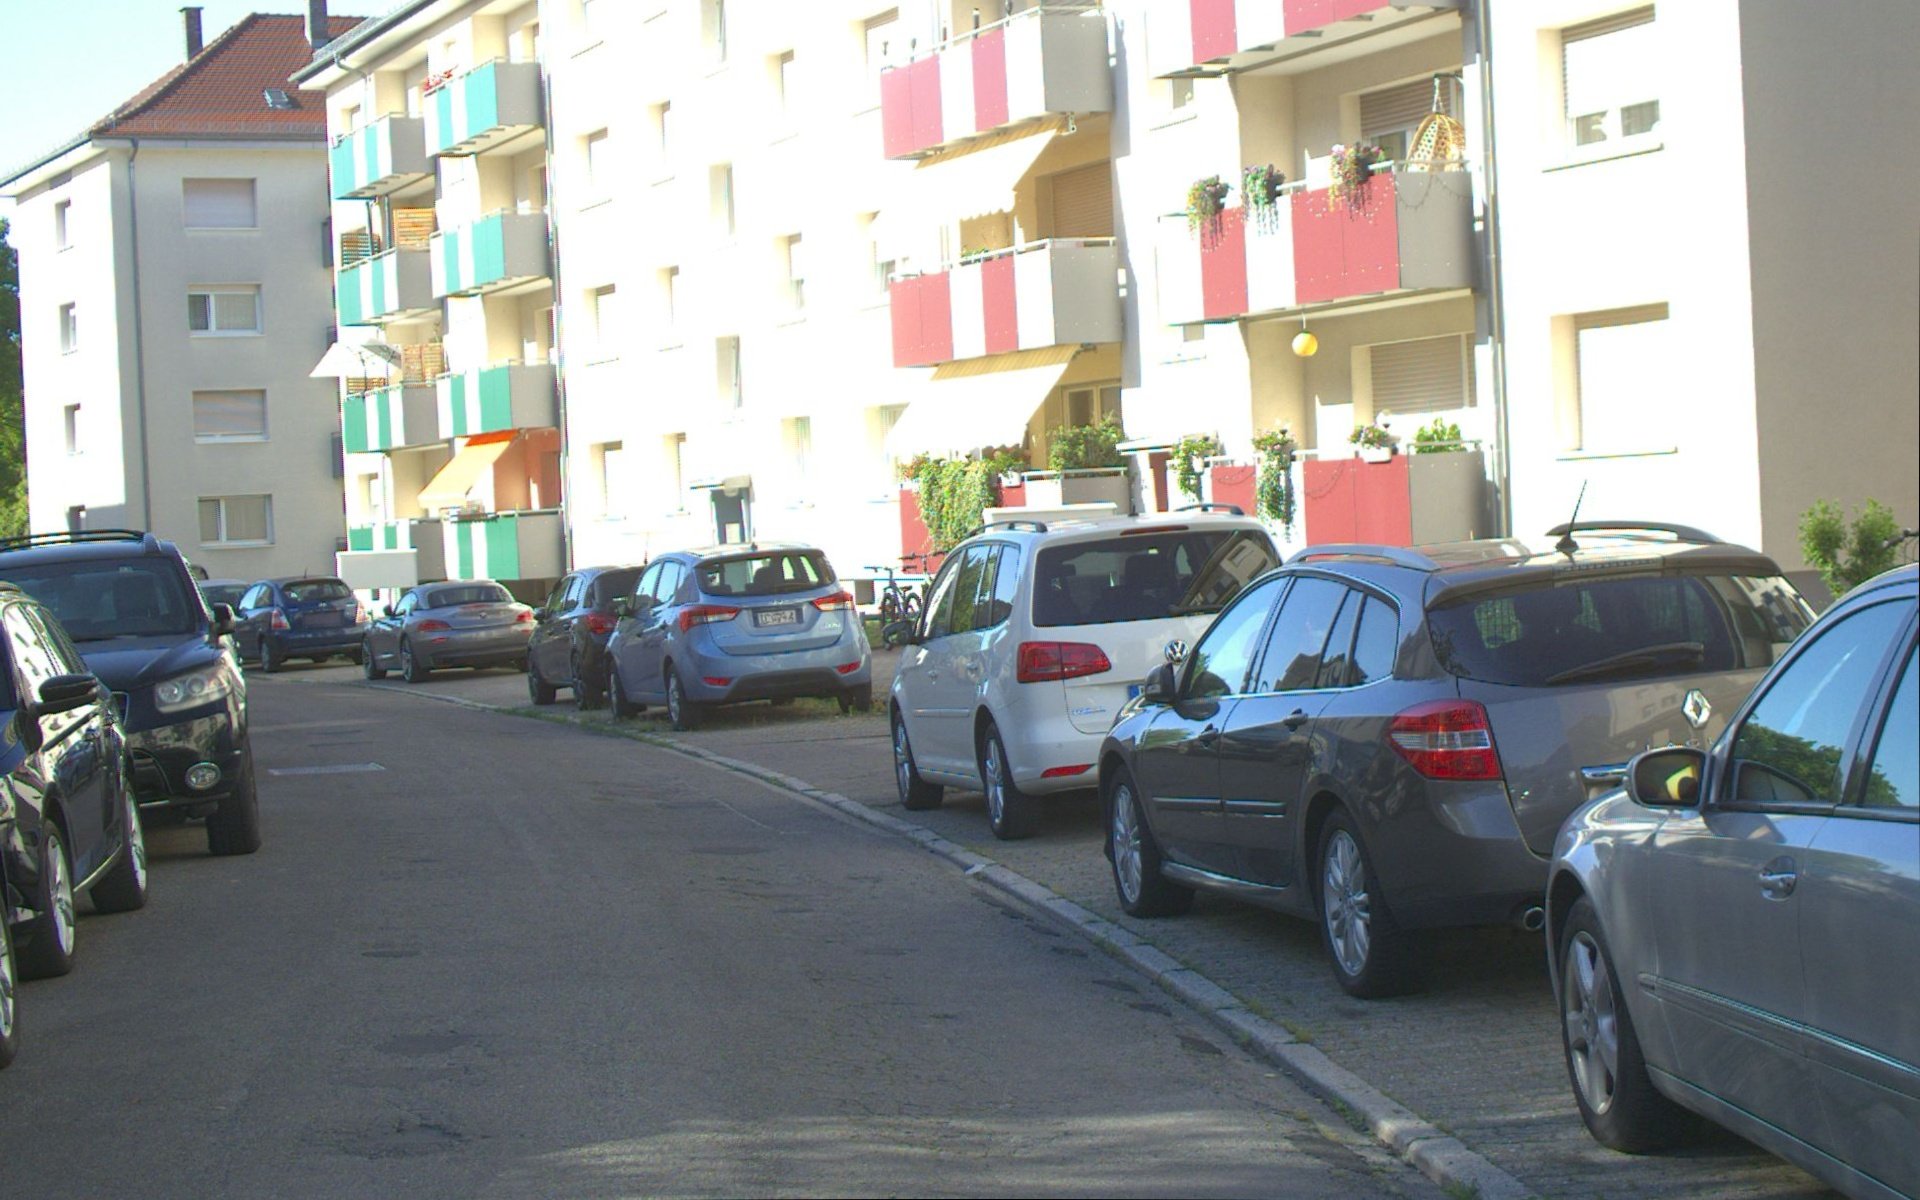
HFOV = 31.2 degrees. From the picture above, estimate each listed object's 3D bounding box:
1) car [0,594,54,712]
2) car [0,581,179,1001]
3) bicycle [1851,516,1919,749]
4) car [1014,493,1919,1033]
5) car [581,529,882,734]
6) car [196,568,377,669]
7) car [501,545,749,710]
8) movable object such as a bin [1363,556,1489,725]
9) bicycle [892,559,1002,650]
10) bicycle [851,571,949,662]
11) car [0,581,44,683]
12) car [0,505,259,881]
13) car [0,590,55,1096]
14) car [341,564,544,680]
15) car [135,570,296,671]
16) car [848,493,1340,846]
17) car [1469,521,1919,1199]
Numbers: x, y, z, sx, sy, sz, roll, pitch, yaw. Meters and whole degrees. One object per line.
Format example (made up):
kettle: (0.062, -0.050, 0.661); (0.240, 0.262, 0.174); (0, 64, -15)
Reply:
car: (-13.274, 0.747, 46.540); (1.478, 1.472, 3.632); (-7, 2, -20)
car: (-4.210, 0.718, 13.832); (1.555, 1.437, 3.969); (-5, 1, -7)
bicycle: (5.294, 0.156, 18.588); (0.514, 1.198, 1.761); (-4, 1, 3)
car: (1.604, 0.479, 12.516); (1.693, 1.426, 4.689); (-6, 1, -12)
car: (-2.179, 0.226, 31.716); (1.765, 1.630, 4.042); (-5, 2, -17)
car: (-10.860, 0.302, 55.228); (1.737, 1.427, 4.356); (-5, 1, -25)
car: (-3.623, 0.267, 36.609); (1.735, 1.503, 3.886); (-6, 2, -17)
movable object such as a bin: (3.077, 0.268, 22.739); (0.583, 1.052, 0.641); (-6, -1, -6)
bicycle: (-0.167, 0.036, 40.920); (0.617, 0.974, 1.896); (-6, 3, -20)
bicycle: (-0.723, 0.197, 40.754); (0.497, 1.016, 1.842); (-5, 1, -20)
car: (-15.031, 0.528, 51.624); (1.743, 1.426, 4.599); (-6, 2, -22)
car: (-4.727, 0.460, 18.687); (1.555, 1.708, 4.338); (-5, 1, -10)
car: (-3.495, 0.779, 8.625); (1.678, 1.437, 4.281); (-5, 1, -7)
car: (-7.057, 0.280, 46.568); (1.685, 1.358, 4.241); (-5, 2, -22)
car: (-12.923, 0.355, 59.512); (1.681, 1.582, 4.013); (-4, 1, -27)
car: (0.614, 0.325, 19.359); (1.693, 1.650, 4.391); (-4, 1, -11)
car: (2.349, 0.571, 6.562); (1.678, 1.442, 4.725); (-3, 1, -4)
